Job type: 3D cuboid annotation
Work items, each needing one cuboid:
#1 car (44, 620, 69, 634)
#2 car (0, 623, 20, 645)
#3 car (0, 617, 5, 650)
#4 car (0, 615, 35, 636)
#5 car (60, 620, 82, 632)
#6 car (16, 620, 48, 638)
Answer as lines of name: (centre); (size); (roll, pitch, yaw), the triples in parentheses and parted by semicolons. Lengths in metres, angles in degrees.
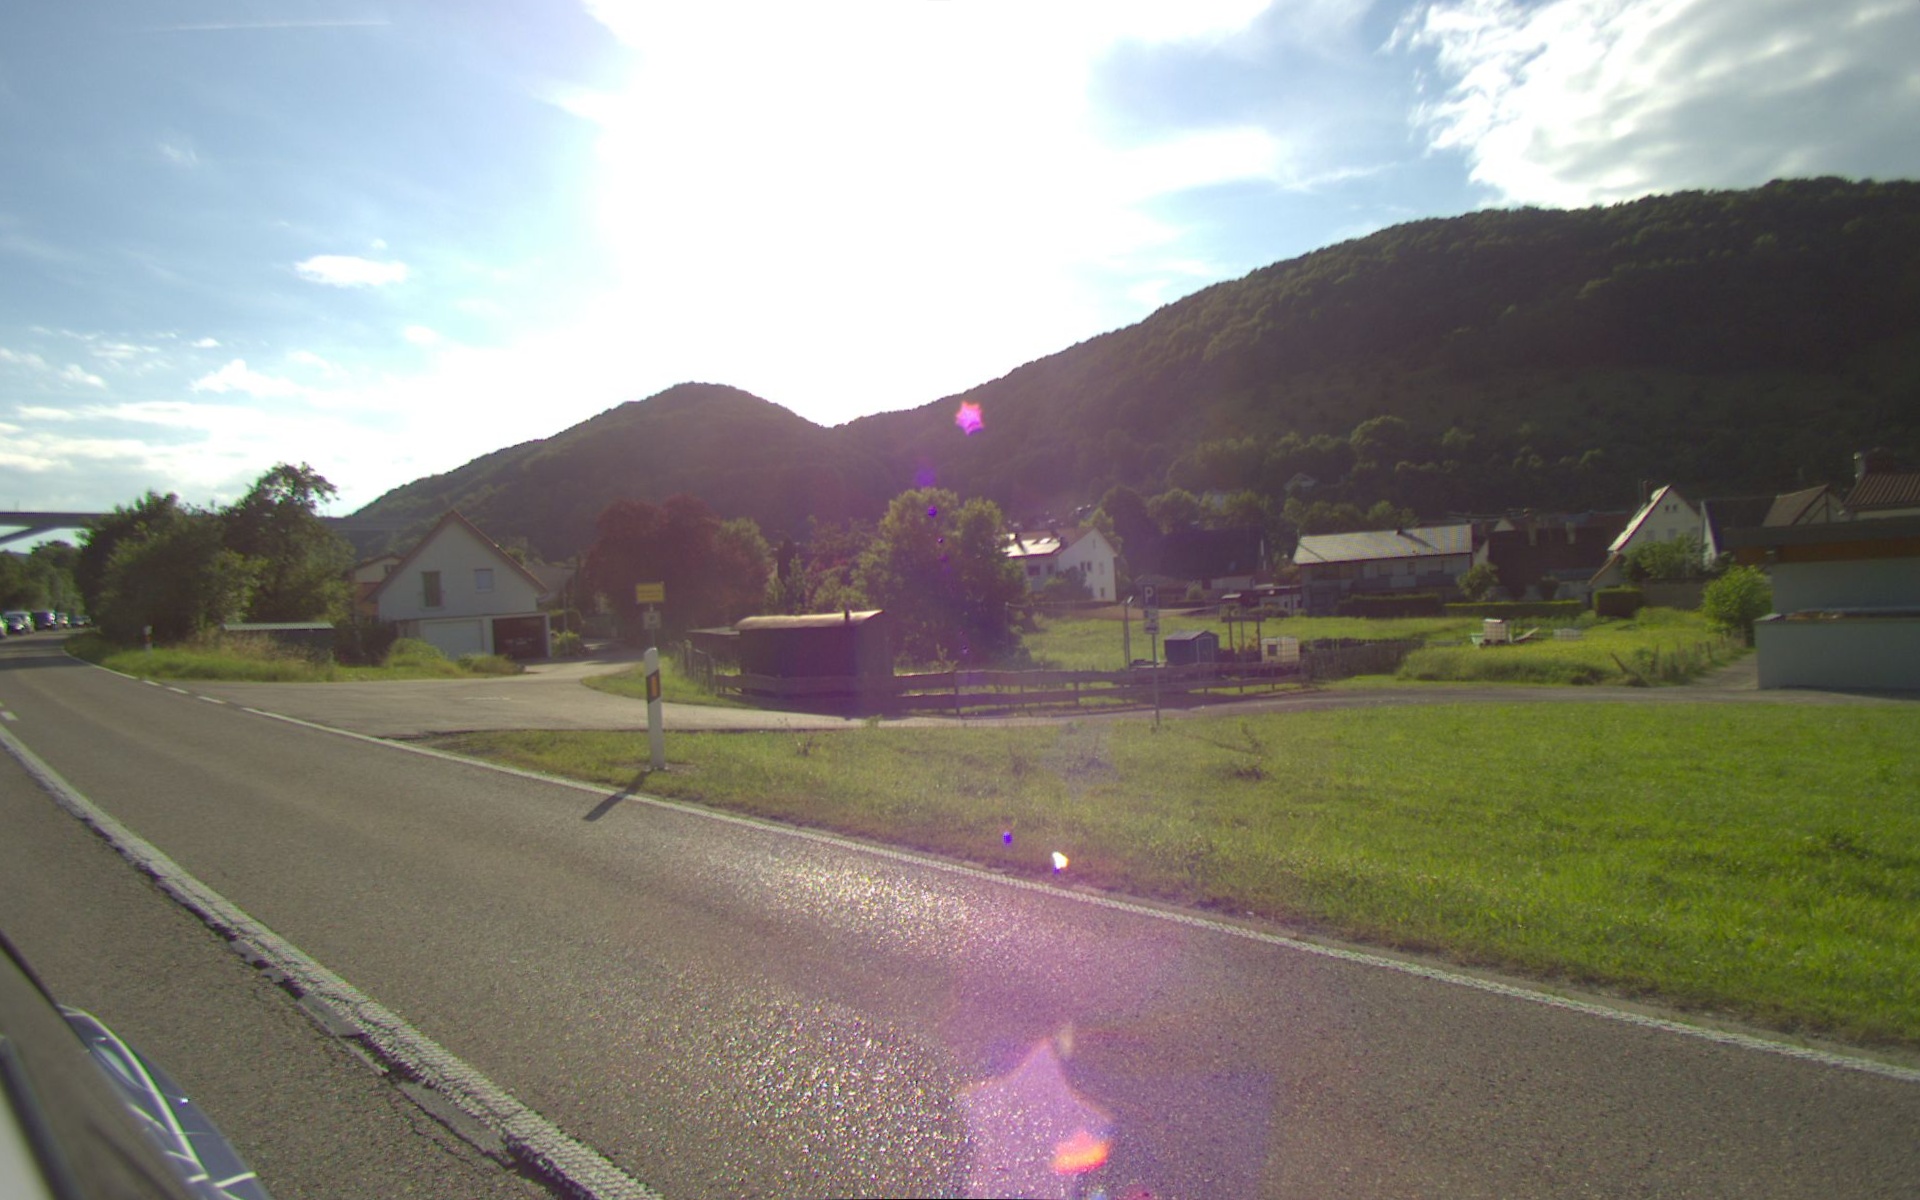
car: (-102.359, 3.012, 114.682); (1.813, 1.564, 4.186); (1, -2, -38)
car: (-70.397, 2.467, 74.316); (1.814, 1.564, 4.184); (2, -2, -40)
car: (-60.827, 2.082, 62.900); (1.886, 2.029, 4.006); (2, -2, -40)
car: (-76.469, 2.066, 82.079); (1.790, 1.630, 4.008); (1, -1, -37)
car: (-113.857, 3.318, 129.683); (1.813, 1.564, 4.186); (1, -2, -38)
car: (-84.848, 2.671, 92.547); (1.790, 1.630, 4.008); (1, -2, -38)
